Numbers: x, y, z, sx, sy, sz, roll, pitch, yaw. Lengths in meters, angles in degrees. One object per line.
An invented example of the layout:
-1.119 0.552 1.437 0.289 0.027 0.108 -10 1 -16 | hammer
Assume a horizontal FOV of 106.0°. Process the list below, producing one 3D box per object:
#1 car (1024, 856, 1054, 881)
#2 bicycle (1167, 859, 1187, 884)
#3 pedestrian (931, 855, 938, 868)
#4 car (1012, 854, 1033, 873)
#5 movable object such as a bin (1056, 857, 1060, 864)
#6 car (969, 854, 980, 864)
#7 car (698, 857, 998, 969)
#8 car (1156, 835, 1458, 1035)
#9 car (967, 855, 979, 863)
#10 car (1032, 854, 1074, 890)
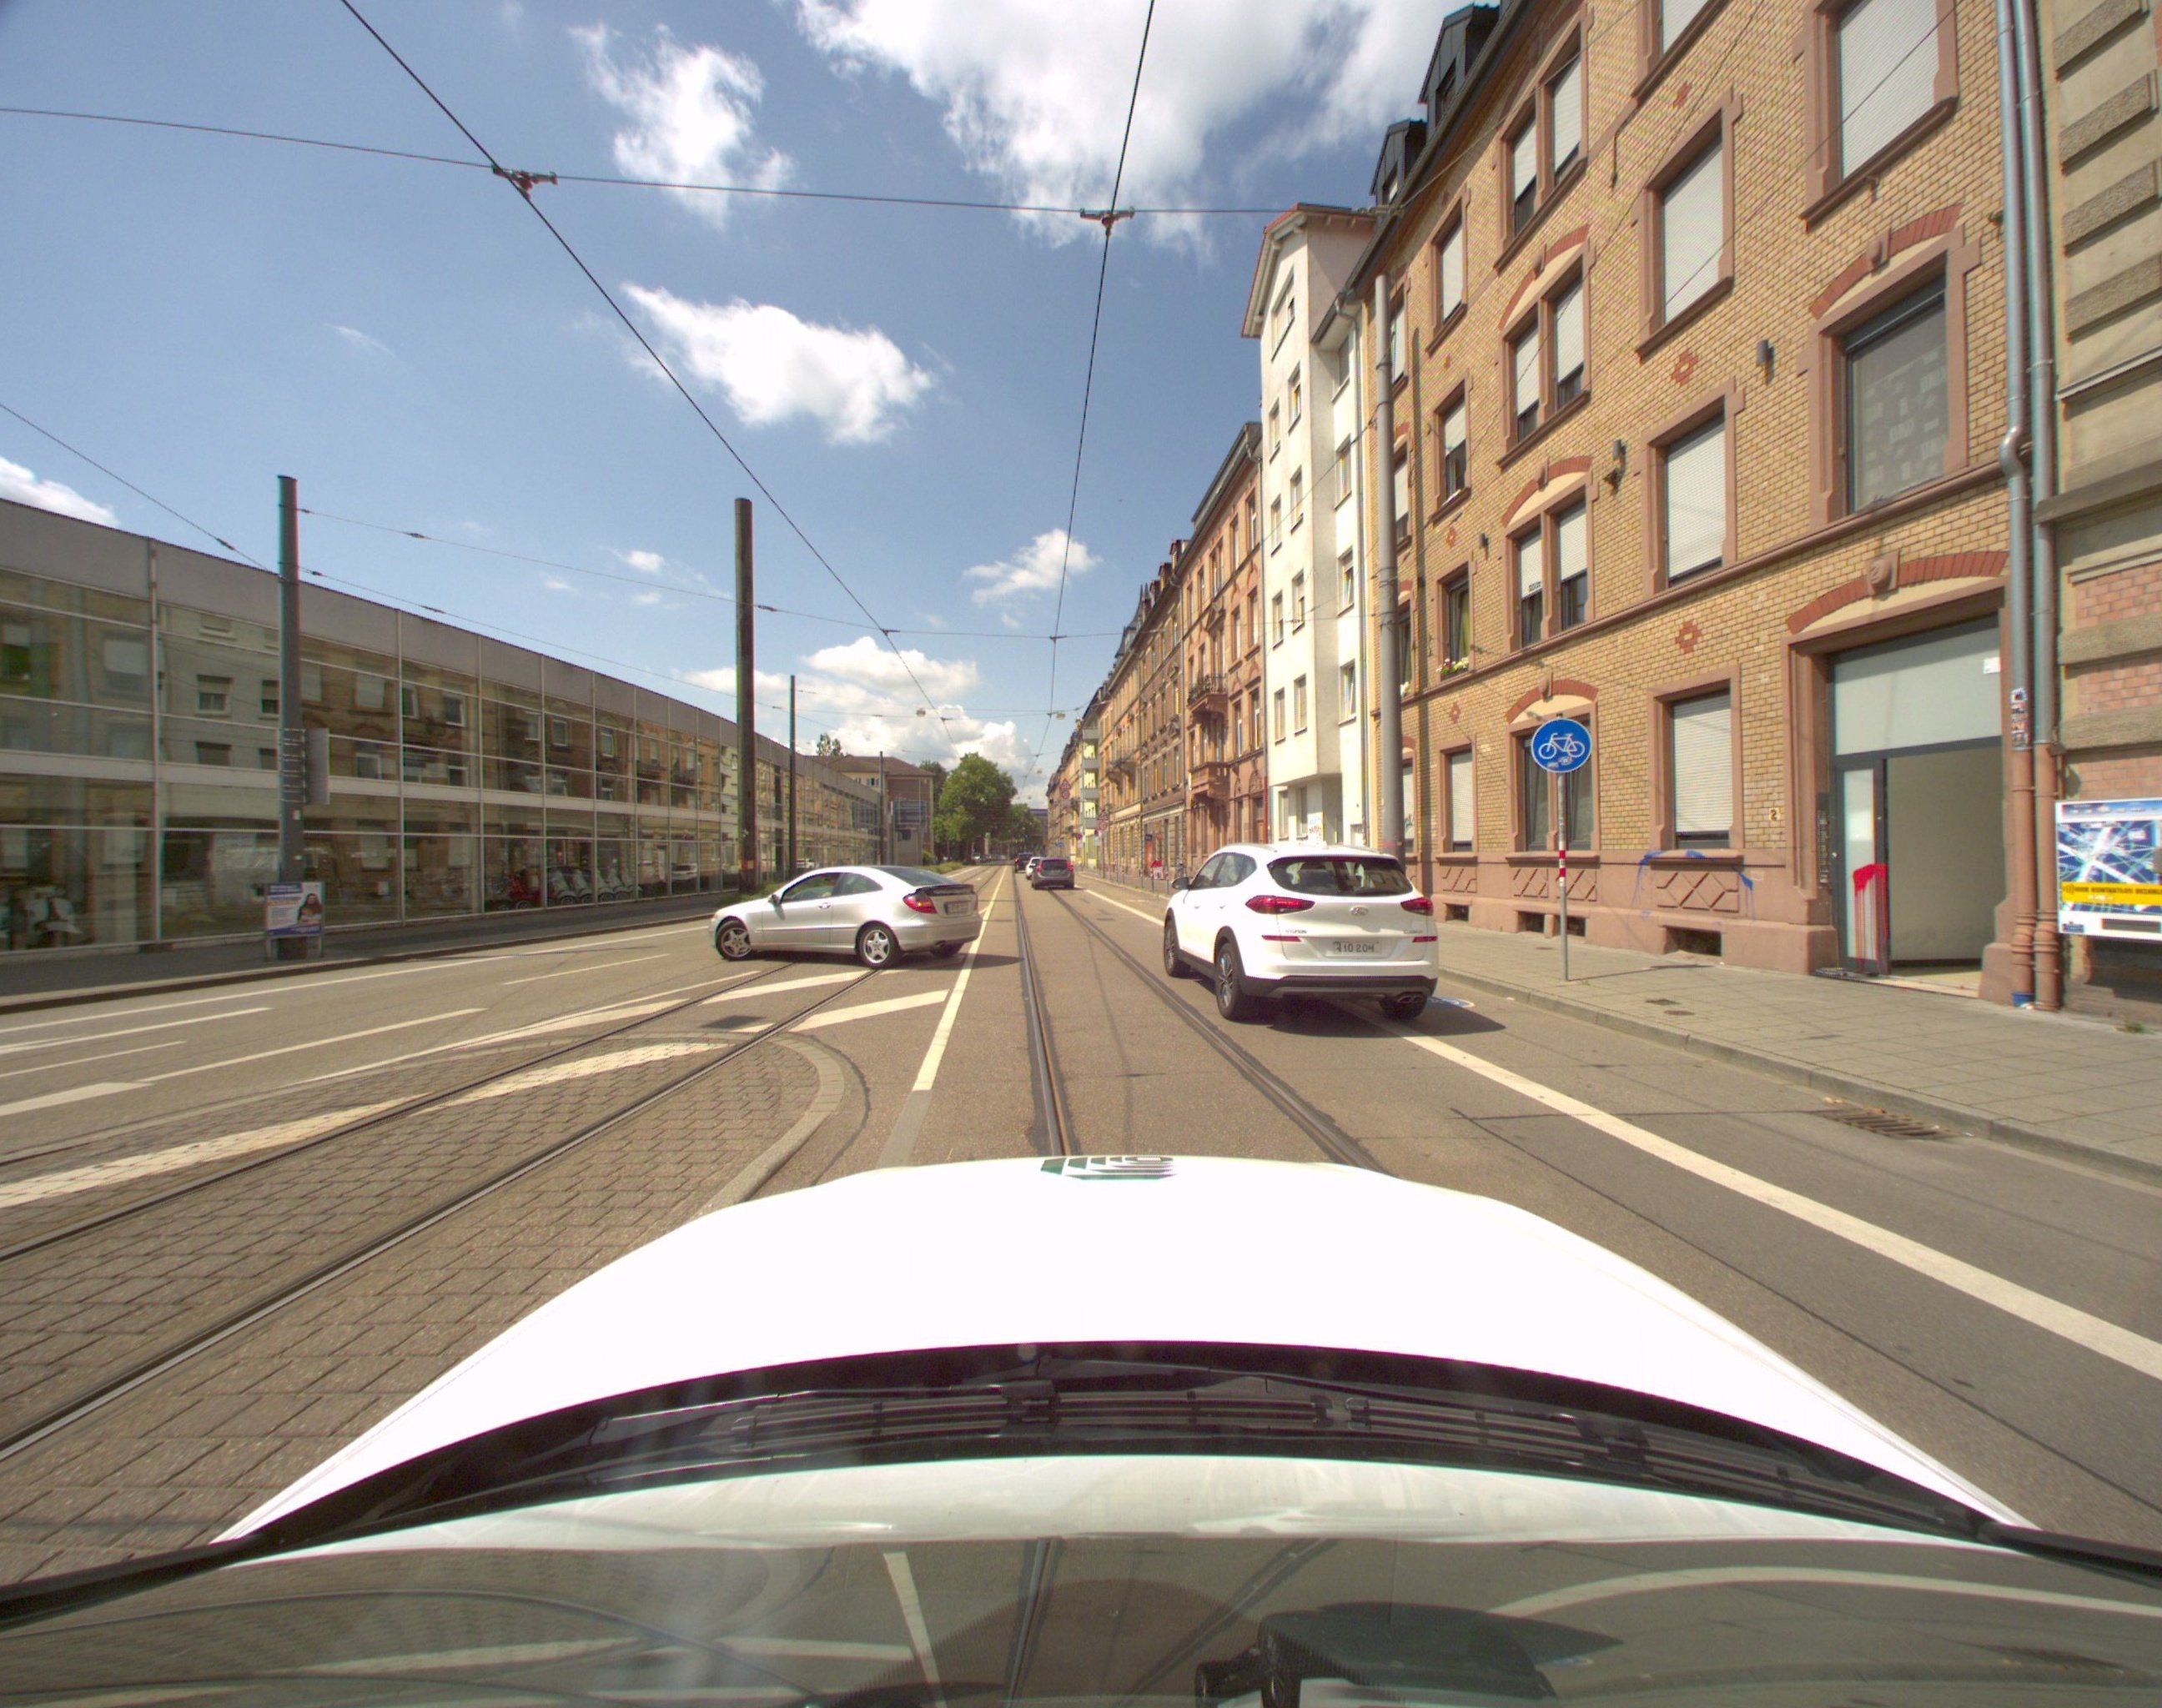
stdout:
-2.774 0.908 53.247 1.812 1.524 3.948 -1 0 -5 | car
4.609 0.833 39.213 0.585 1.178 2.201 -1 0 -4 | bicycle
-21.805 1.065 121.376 0.878 1.865 1.079 -1 0 -5 | pedestrian
-5.247 0.801 73.071 1.812 1.662 4.078 0 0 -5 | car
-3.677 1.024 128.870 0.612 1.143 0.637 1 0 -5 | movable object such as a bin
-21.039 0.925 161.580 1.947 1.895 4.557 1 0 -5 | car
-3.502 0.793 12.196 4.135 1.420 1.831 -1 0 26 | car
2.086 0.664 8.848 1.849 1.634 4.174 0 0 -4 | car
-20.645 0.951 155.844 1.947 1.632 4.567 1 0 -5 | car
-1.277 0.787 37.417 1.810 1.524 4.082 0 0 -2 | car
